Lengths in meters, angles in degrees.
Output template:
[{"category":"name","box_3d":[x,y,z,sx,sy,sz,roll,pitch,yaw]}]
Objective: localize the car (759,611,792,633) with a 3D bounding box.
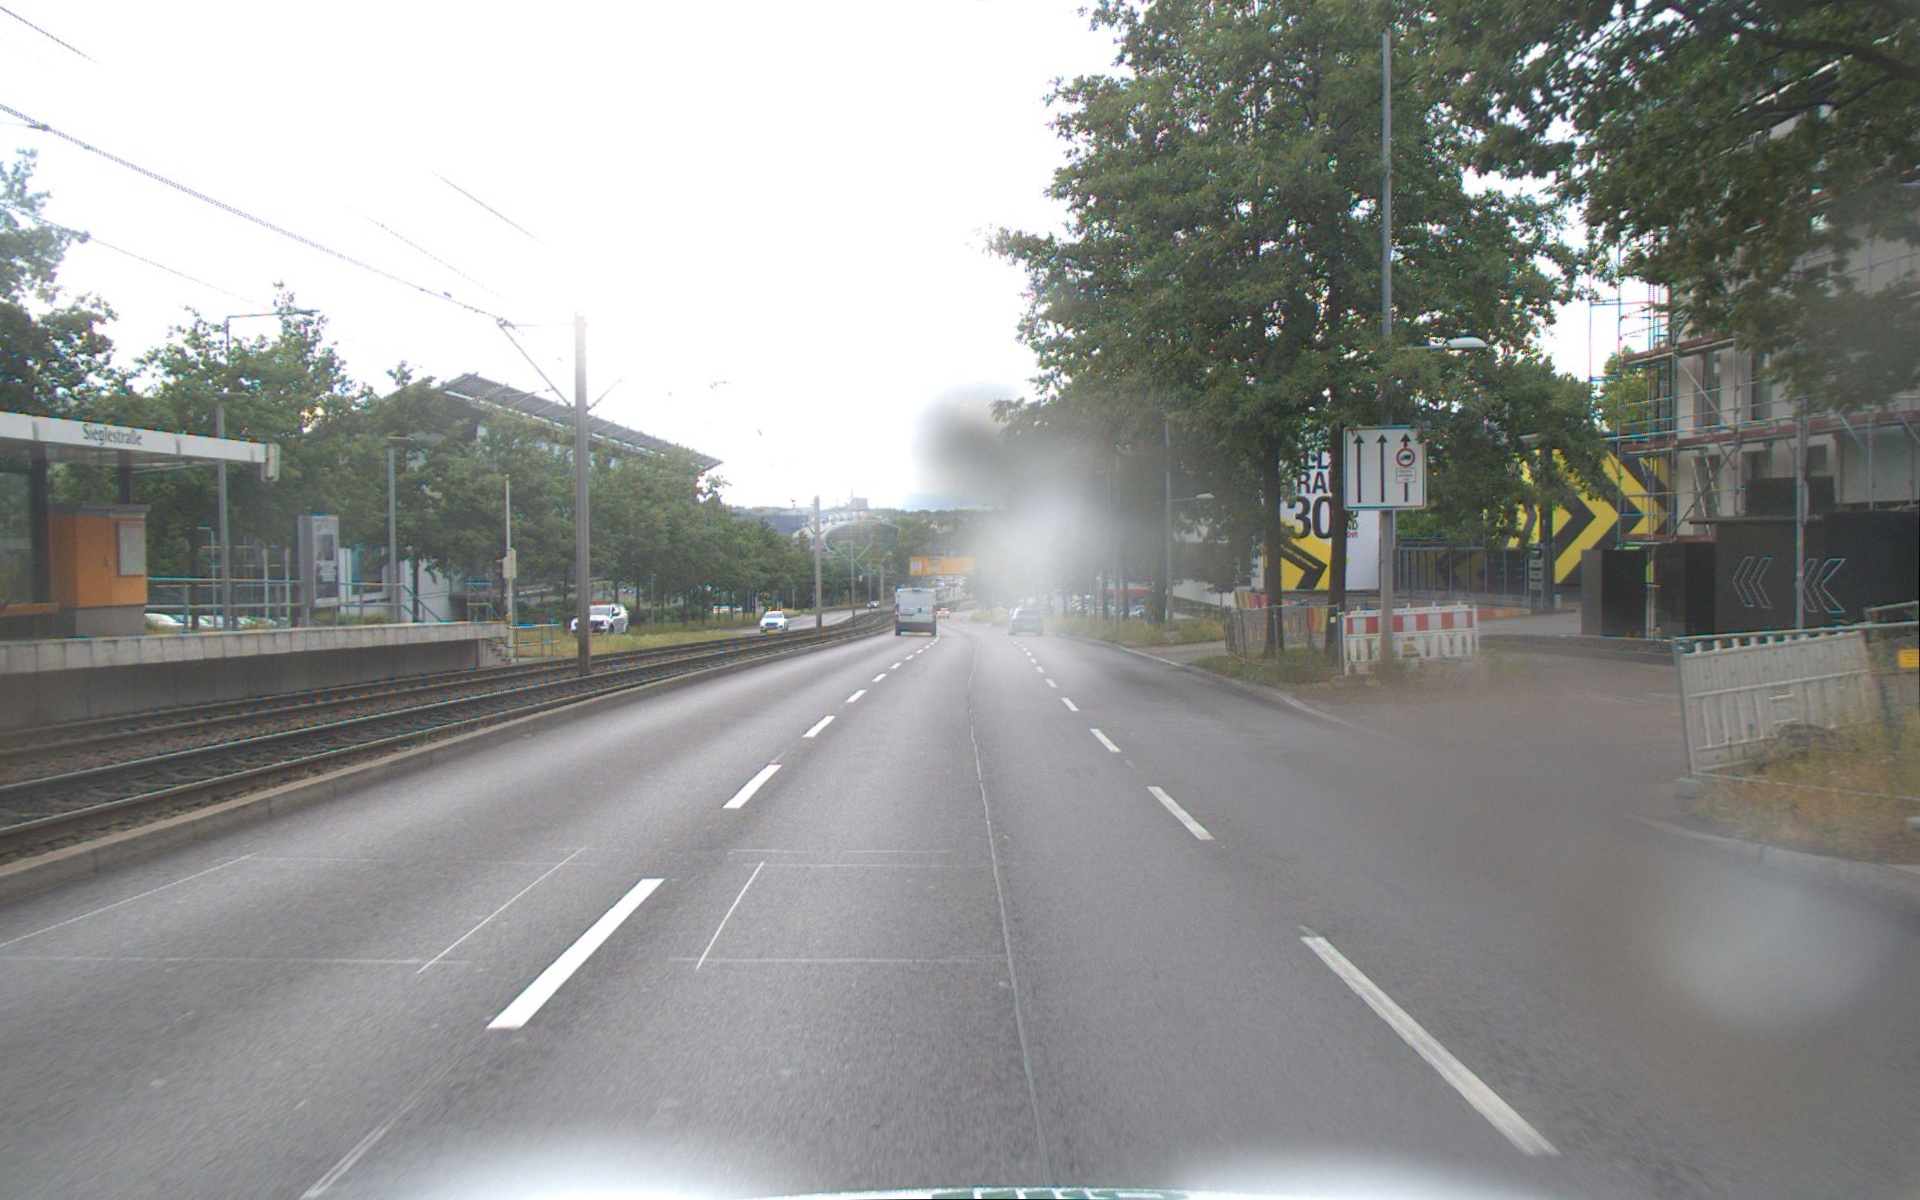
[{"category":"car","box_3d":[-13.445,1.617,120.888,1.799,1.469,4.429,-2,0,1]}]

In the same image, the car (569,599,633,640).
[{"category":"car","box_3d":[-17.338,0.902,80.086,1.953,1.879,5.002,-2,0,0]}]

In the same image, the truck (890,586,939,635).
[{"category":"truck","box_3d":[-2.241,0.529,81.786,2.312,2.301,5.303,1,-1,-2]}]

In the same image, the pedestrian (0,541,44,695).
[{"category":"pedestrian","box_3d":[-13.317,0.238,22.359,1.103,2.049,1.270,1,-1,0]}]

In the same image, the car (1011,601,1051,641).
[{"category":"car","box_3d":[3.750,1.111,88.270,1.952,2.049,3.934,1,-1,0]}]

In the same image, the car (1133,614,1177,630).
[{"category":"car","box_3d":[17.825,2.012,151.124,3.903,1.378,2.001,1,-1,3]}]
